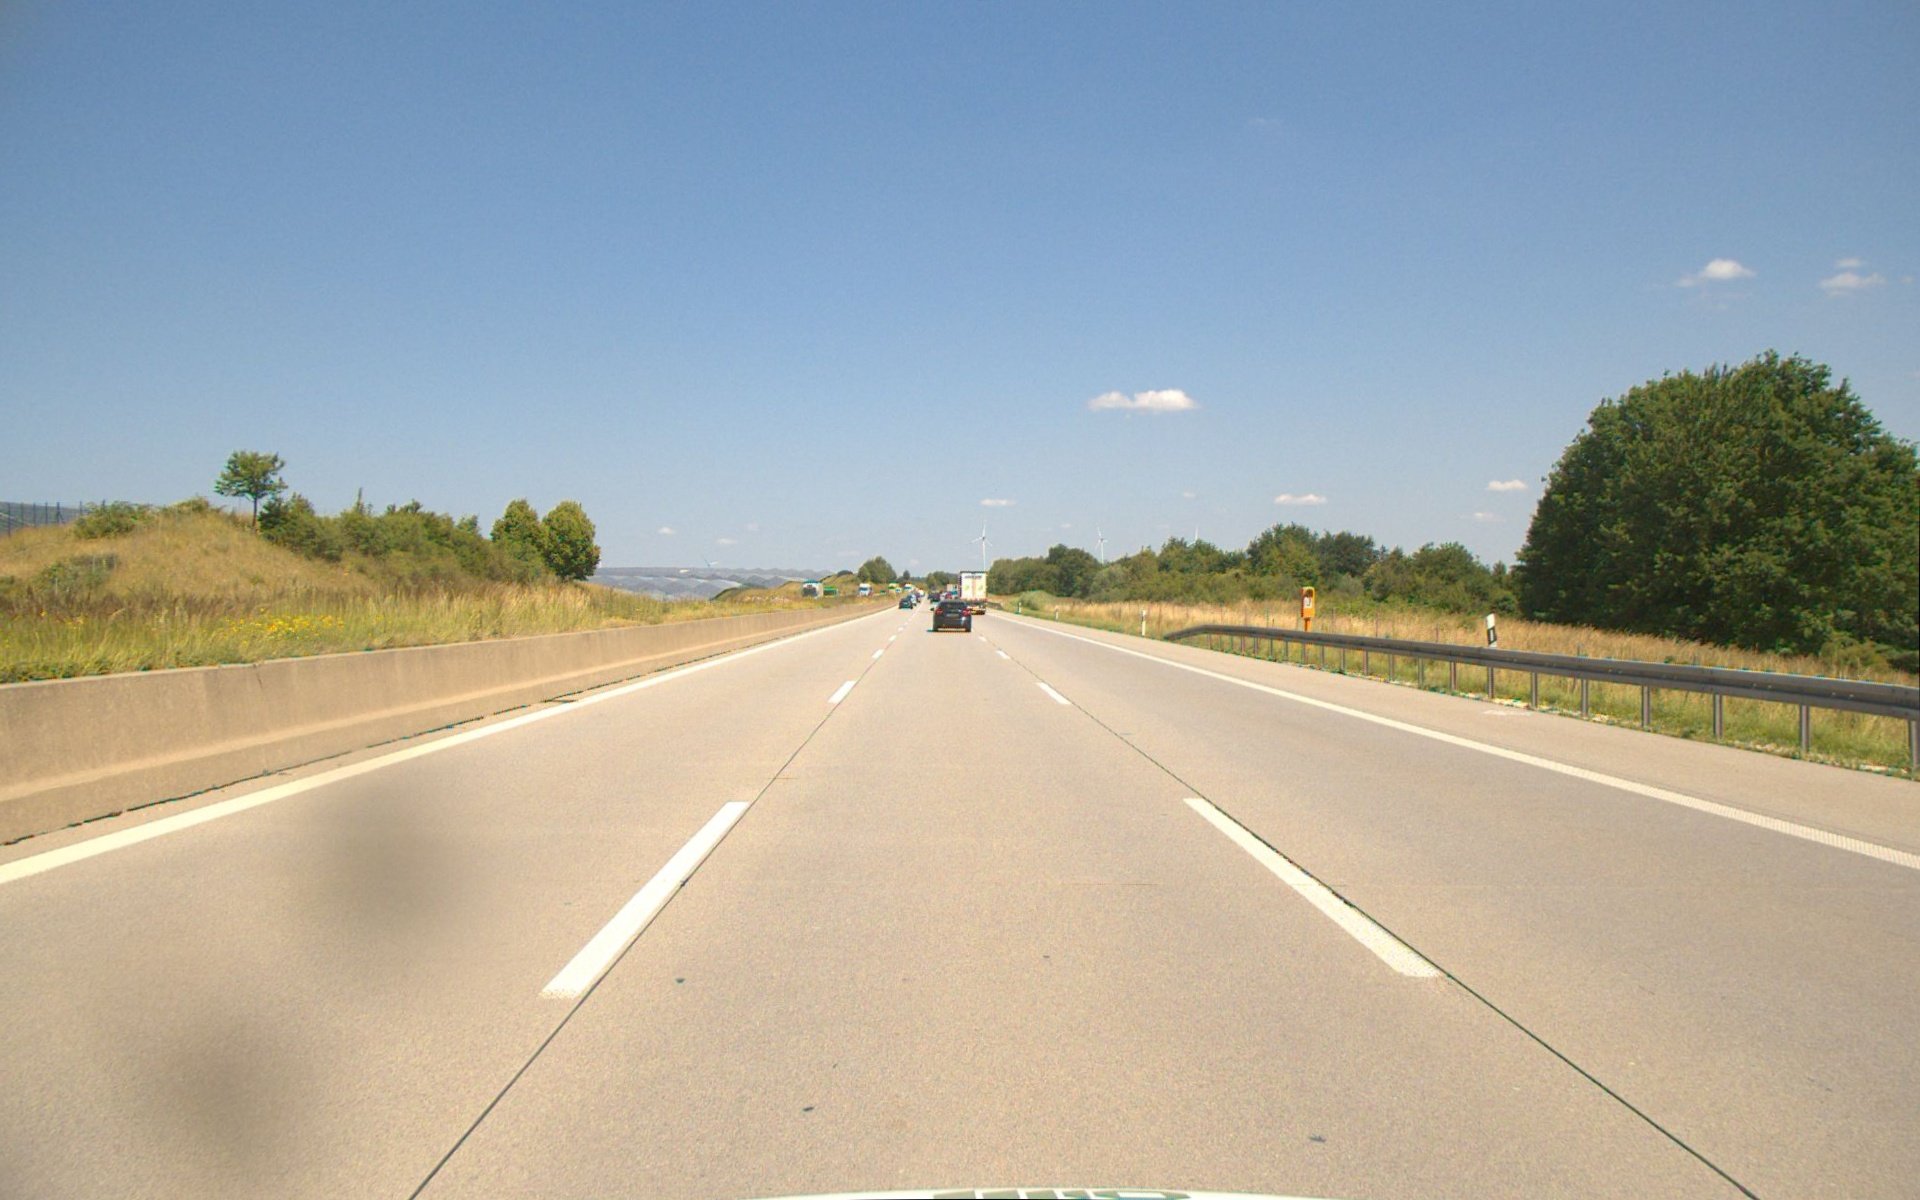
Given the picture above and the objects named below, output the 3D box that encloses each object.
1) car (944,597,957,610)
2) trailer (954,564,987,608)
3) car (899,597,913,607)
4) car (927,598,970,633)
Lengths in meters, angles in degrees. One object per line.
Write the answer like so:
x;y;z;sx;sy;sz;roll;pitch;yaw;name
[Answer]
-1.521;0.573;254.071;1.789;1.940;4.001;1;0;2;car
0.989;-1.356;161.869;2.795;4.113;12.710;1;0;-1;trailer
-6.839;0.237;211.015;1.622;1.217;3.959;3;0;-1;car
-0.537;0.694;76.136;1.872;1.518;4.190;1;0;-2;car
